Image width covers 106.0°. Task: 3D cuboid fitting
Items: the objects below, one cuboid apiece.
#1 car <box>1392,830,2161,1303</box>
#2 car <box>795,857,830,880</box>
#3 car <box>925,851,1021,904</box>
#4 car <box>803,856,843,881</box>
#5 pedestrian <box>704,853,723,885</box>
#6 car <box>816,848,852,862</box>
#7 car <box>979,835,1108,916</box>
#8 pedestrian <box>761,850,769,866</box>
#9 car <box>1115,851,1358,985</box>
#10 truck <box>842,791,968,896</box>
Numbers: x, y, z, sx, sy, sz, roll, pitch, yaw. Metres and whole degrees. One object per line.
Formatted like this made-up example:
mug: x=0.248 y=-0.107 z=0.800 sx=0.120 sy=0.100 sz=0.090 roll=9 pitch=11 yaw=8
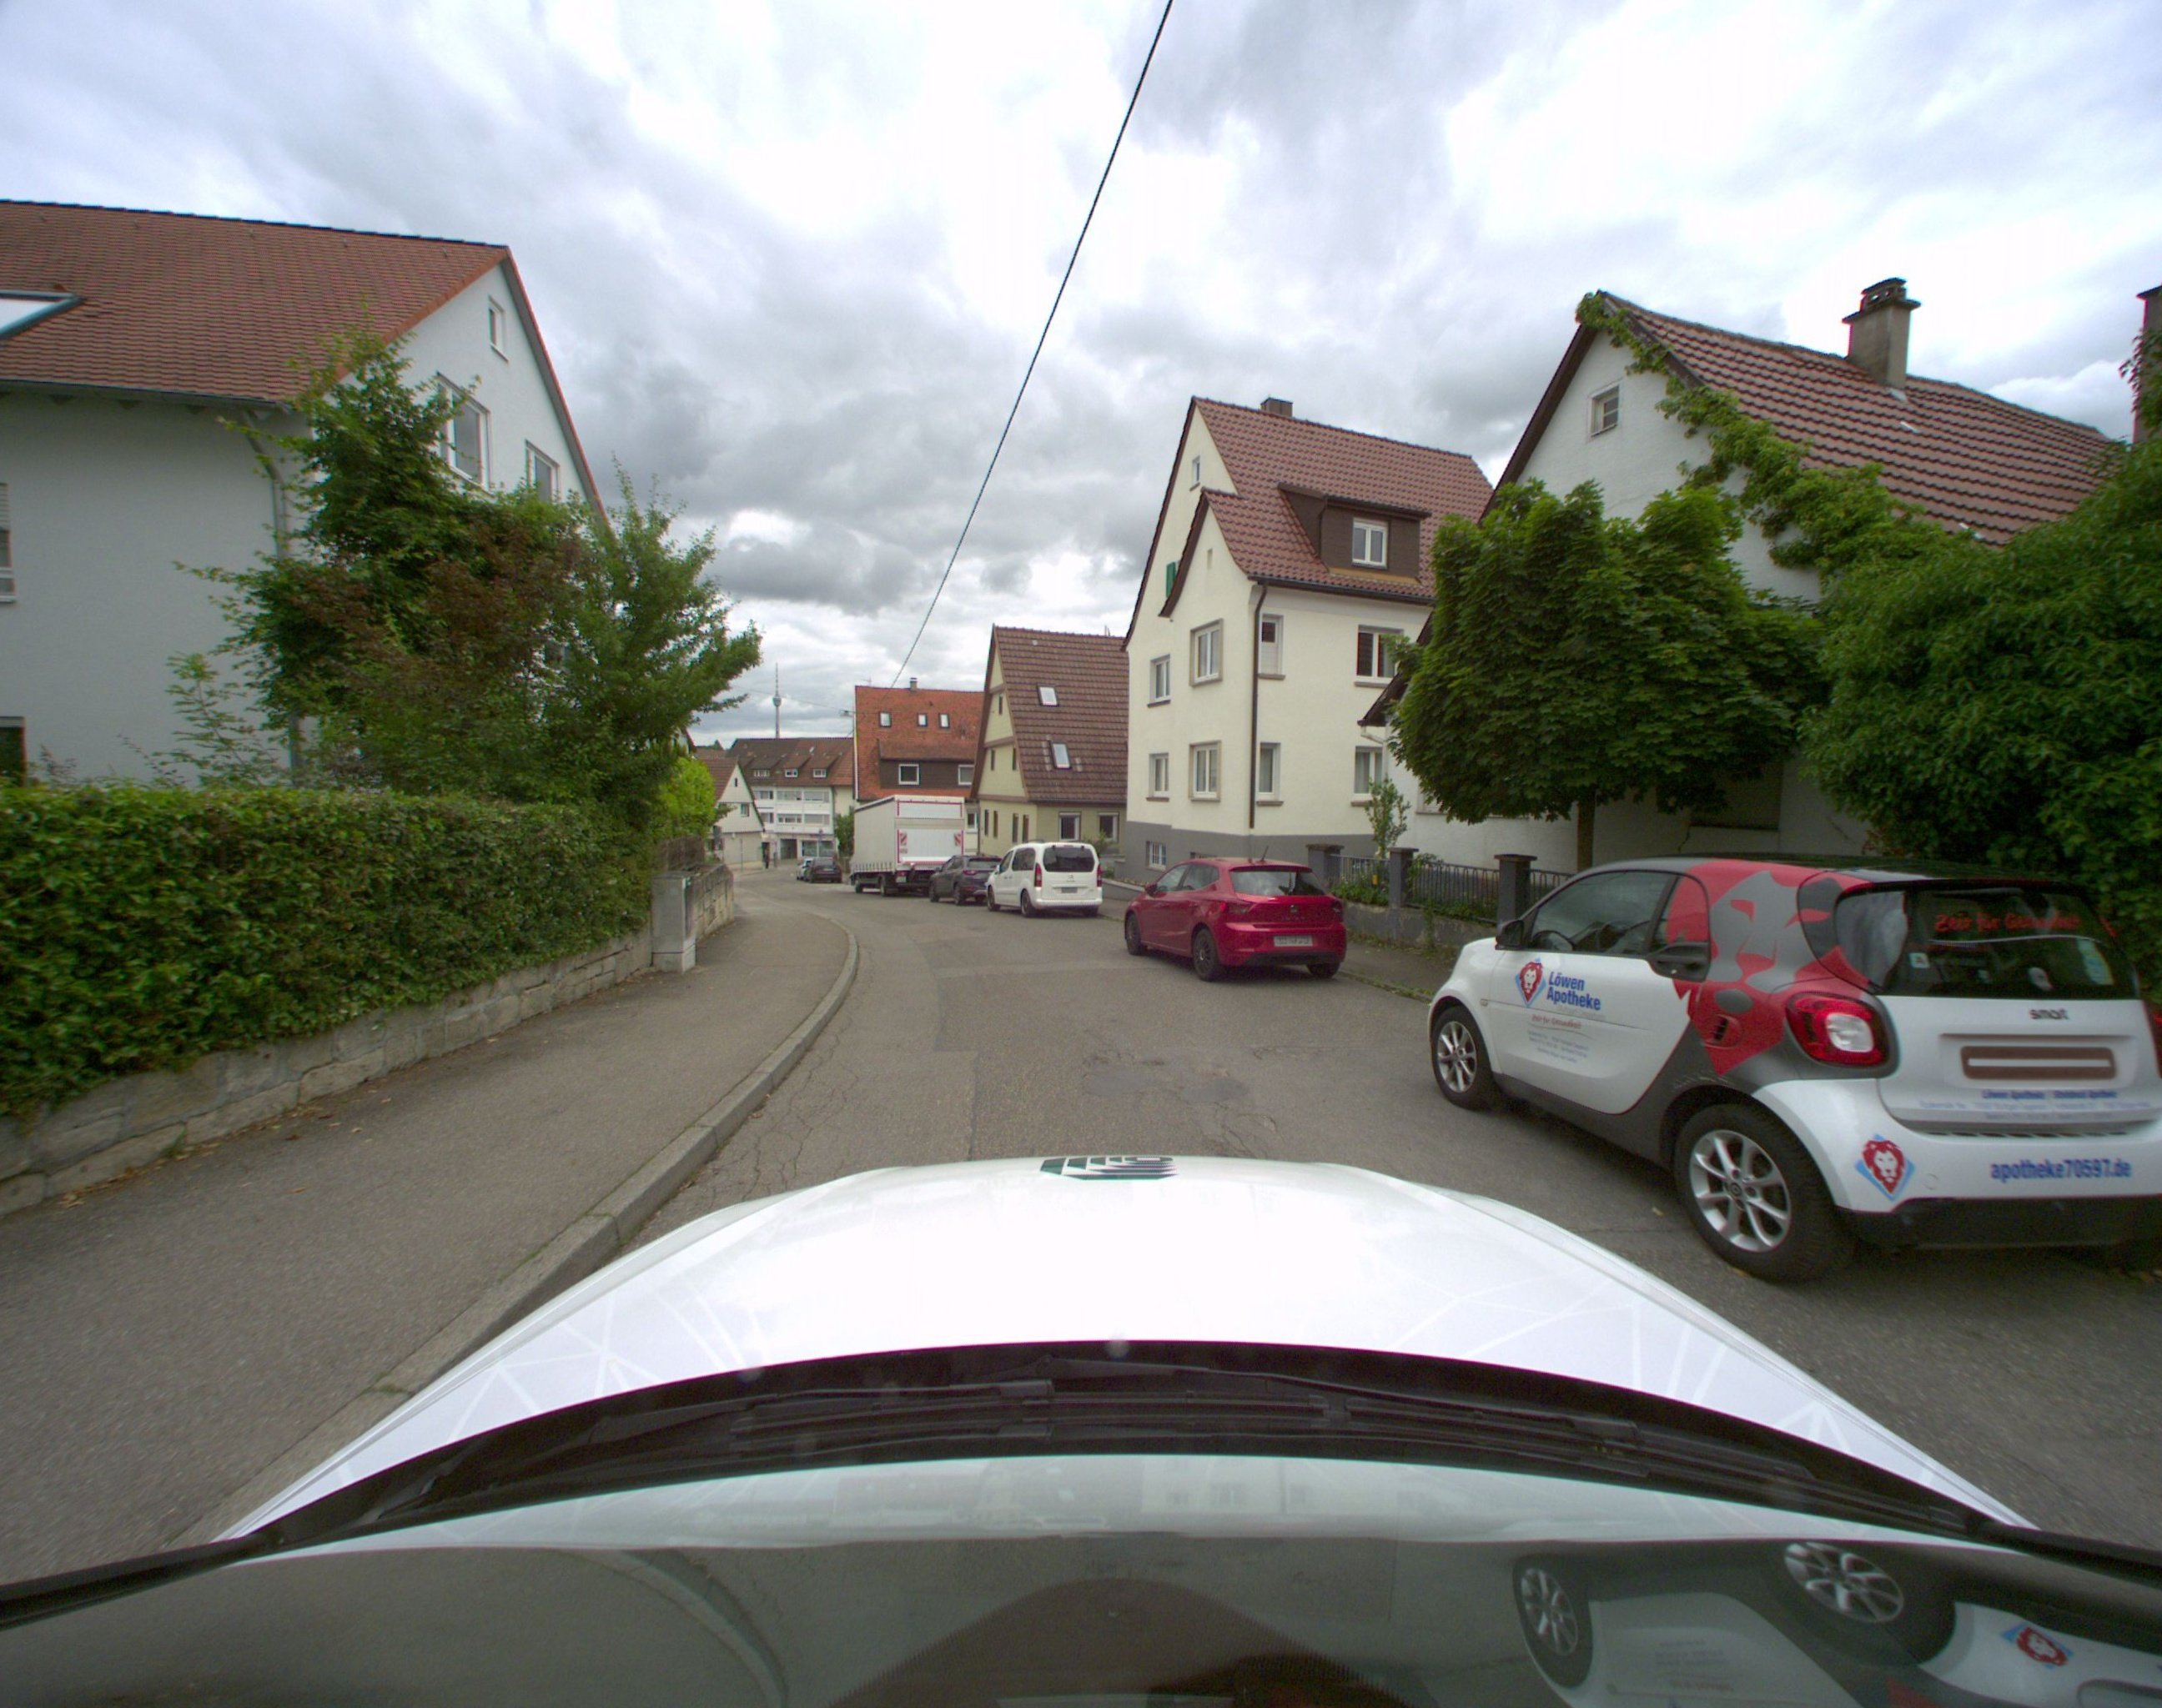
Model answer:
car: x=3.086 y=0.714 z=4.172 sx=1.609 sy=1.532 sz=2.891 roll=3 pitch=0 yaw=-6
car: x=-17.529 y=0.922 z=53.100 sx=1.803 sy=1.445 sz=4.264 roll=1 pitch=-1 yaw=-24
car: x=-3.461 y=0.713 z=25.441 sx=1.742 sy=1.506 sz=4.015 roll=1 pitch=-1 yaw=-27
car: x=-15.291 y=0.849 z=48.196 sx=1.682 sy=1.408 sz=4.017 roll=1 pitch=-1 yaw=-26
pedestrian: x=-19.773 y=0.819 z=43.769 sx=0.845 sy=1.678 sz=0.968 roll=1 pitch=-1 yaw=-28
car: x=-28.436 y=0.126 z=93.935 sx=3.653 sy=1.556 sz=1.706 roll=1 pitch=1 yaw=19
car: x=-1.073 y=0.496 z=20.561 sx=1.843 sy=1.814 sz=4.270 roll=1 pitch=0 yaw=-24
pedestrian: x=-32.552 y=0.422 z=83.992 sx=0.651 sy=1.684 sz=0.598 roll=-1 pitch=1 yaw=-35
car: x=1.847 y=0.704 z=10.916 sx=1.682 sy=1.452 sz=3.831 roll=1 pitch=0 yaw=-16
truck: x=-7.169 y=-0.354 z=32.071 sx=2.692 sy=3.597 sz=8.030 roll=0 pitch=0 yaw=-29
